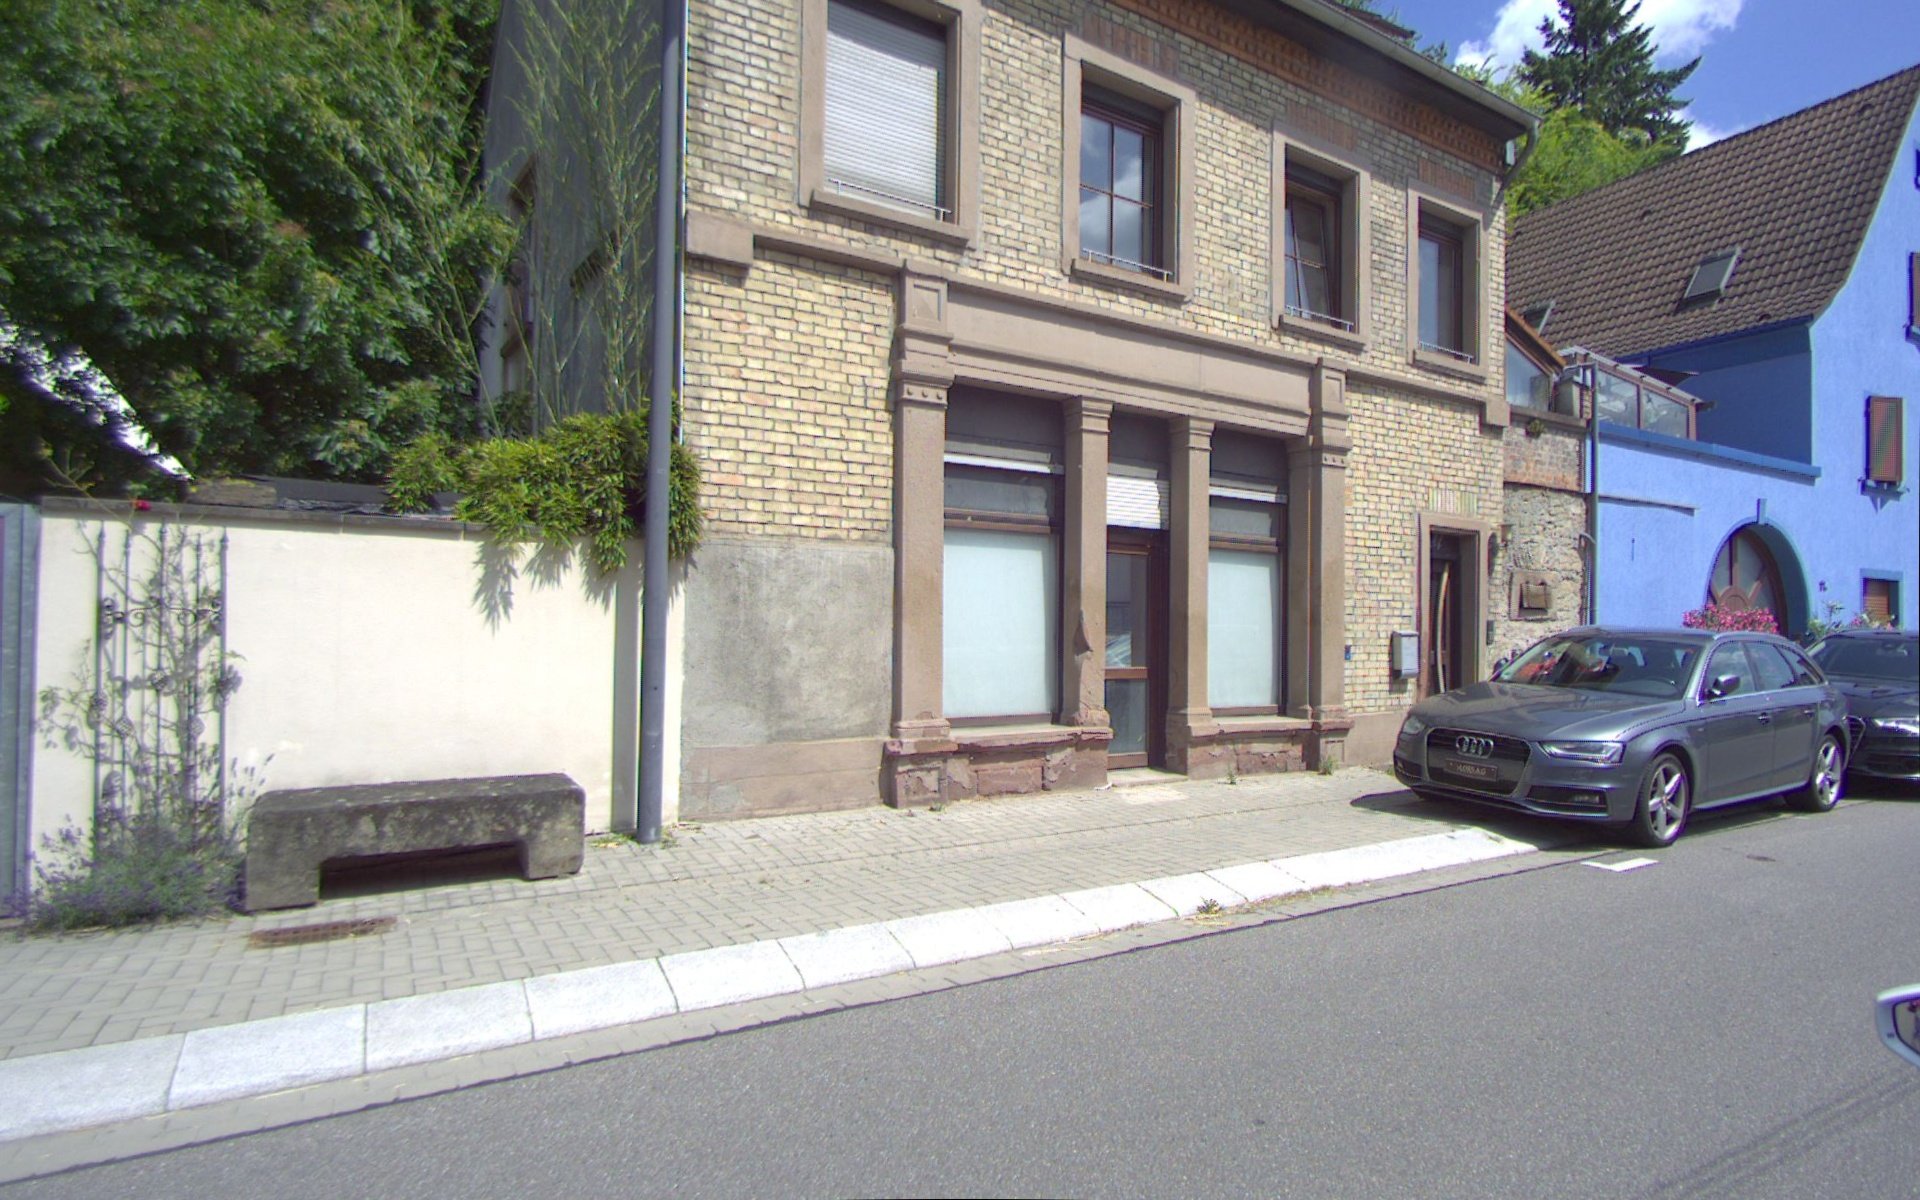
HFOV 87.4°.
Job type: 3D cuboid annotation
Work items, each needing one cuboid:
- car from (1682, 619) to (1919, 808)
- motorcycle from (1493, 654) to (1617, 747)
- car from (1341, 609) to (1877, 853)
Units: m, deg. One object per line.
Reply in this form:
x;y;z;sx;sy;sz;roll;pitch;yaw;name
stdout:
9.635;0.993;10.278;4.612;1.484;1.876;1;2;-30;car
7.100;1.171;11.954;1.838;1.014;0.415;2;3;-33;motorcycle
5.370;0.891;8.158;4.496;1.485;1.946;3;-2;-32;car
